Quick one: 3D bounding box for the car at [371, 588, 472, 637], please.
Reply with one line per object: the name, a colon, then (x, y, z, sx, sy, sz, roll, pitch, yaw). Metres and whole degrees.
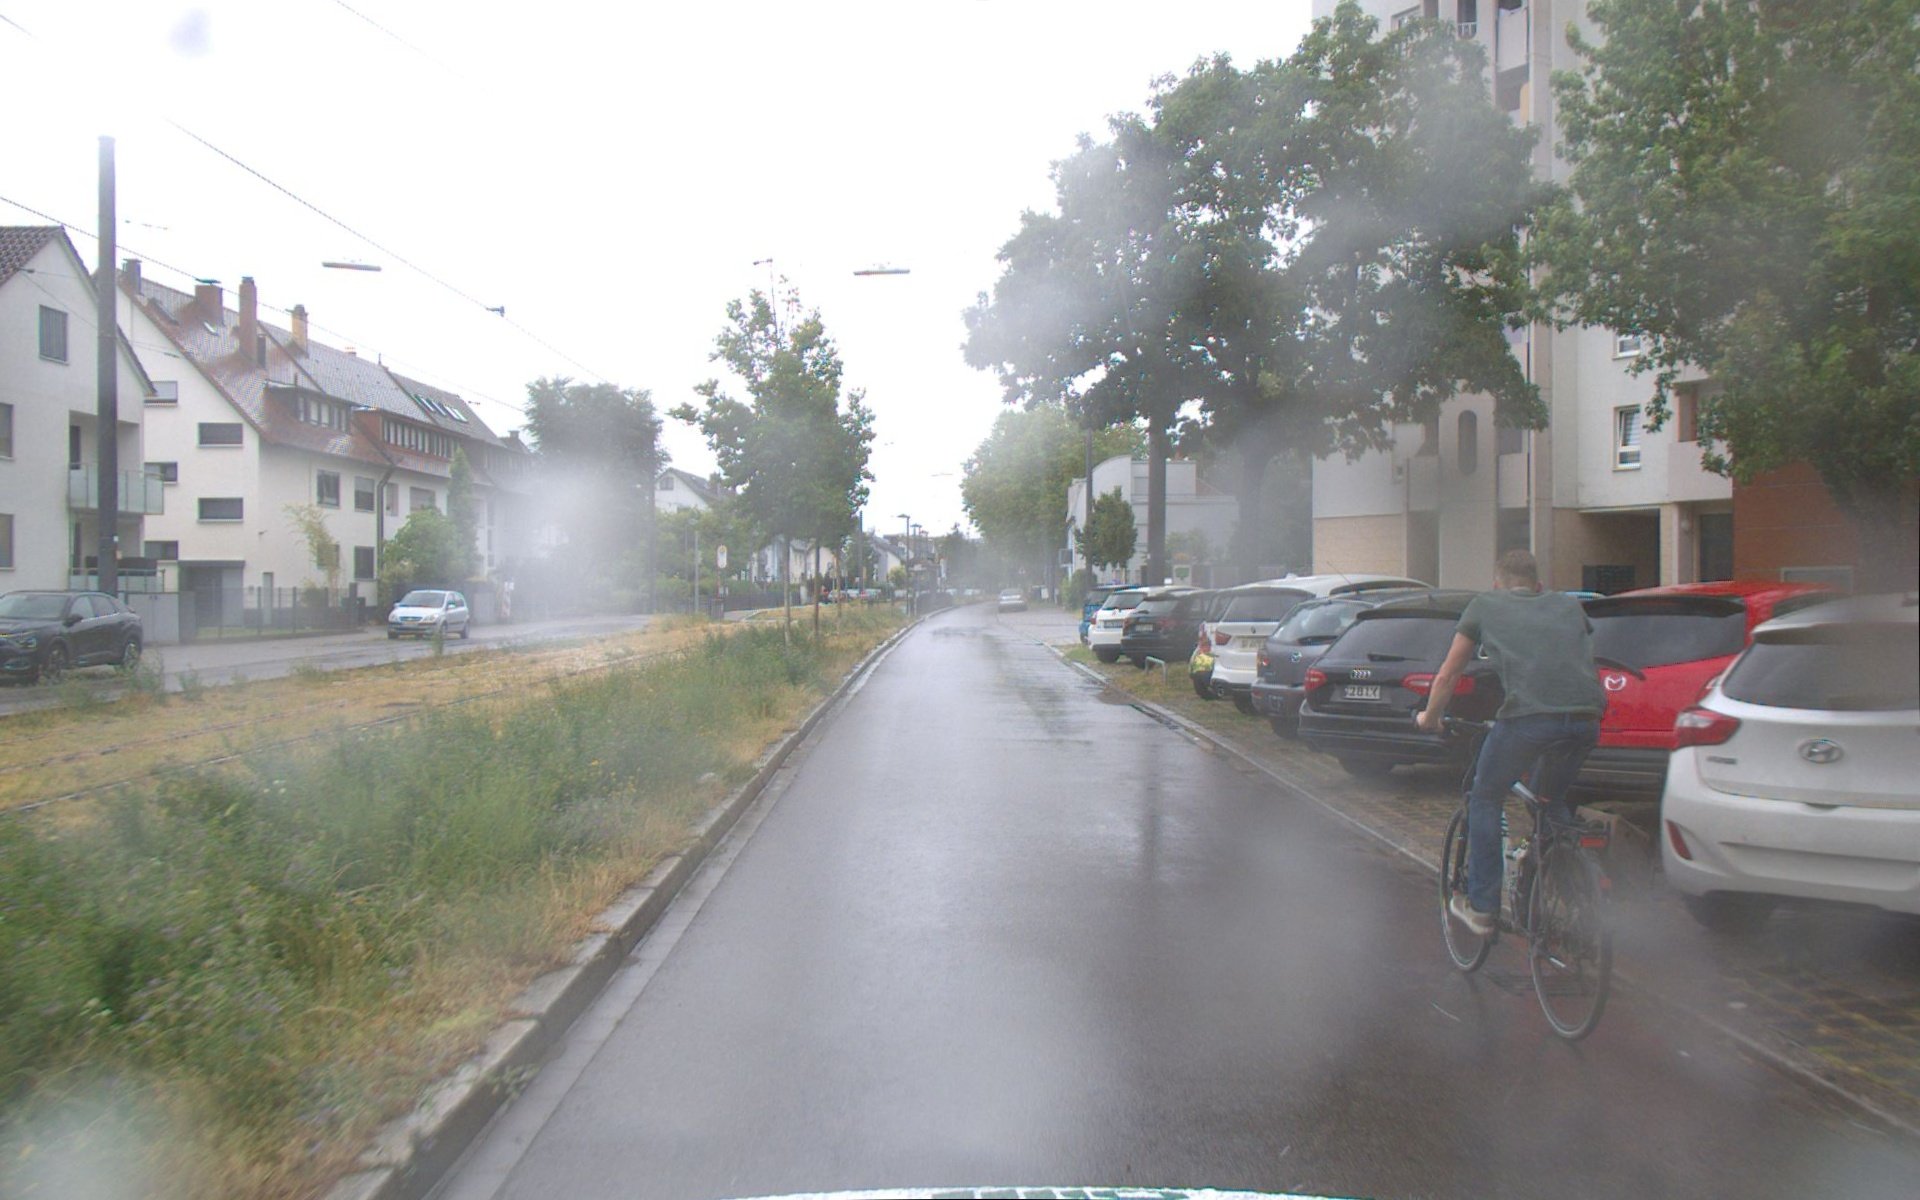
car: (-16.420, 0.379, 50.610, 1.953, 1.438, 3.657, 1, 0, -2)

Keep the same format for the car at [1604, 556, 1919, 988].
car: (5.067, 0.548, 7.603, 4.411, 1.490, 1.797, -4, 2, -36)

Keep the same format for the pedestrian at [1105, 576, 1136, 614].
pedestrian: (6.646, -0.209, 68.431, 0.826, 1.544, 1.084, 1, -1, -29)

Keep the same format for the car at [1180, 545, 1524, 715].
car: (4.859, 0.285, 20.144, 4.421, 1.700, 1.786, -4, 2, -40)

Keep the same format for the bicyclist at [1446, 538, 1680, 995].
bicyclist: (2.224, 0.582, 6.164, 0.524, 1.587, 0.771, 1, -1, -7)

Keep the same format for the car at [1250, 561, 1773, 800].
car: (4.524, 0.522, 13.289, 4.409, 1.453, 1.664, -4, 2, -35)

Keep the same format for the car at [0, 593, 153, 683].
car: (-15.909, 0.616, 28.722, 1.799, 1.452, 4.173, 1, 0, -2)

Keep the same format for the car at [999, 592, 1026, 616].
car: (3.355, 0.277, 105.015, 1.616, 1.430, 4.650, -3, -1, 2)

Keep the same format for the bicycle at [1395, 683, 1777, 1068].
bicycle: (2.224, 0.910, 6.161, 0.526, 1.112, 1.946, 1, 0, -5)

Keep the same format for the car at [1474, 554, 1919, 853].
car: (5.459, 0.506, 10.945, 4.418, 1.453, 1.784, -4, 2, -39)

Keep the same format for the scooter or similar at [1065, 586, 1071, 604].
scooter or similar: (6.728, -0.322, 102.958, 0.326, 1.104, 1.397, 1, 0, 7)

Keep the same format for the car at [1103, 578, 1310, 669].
car: (4.759, 0.418, 31.705, 3.904, 1.456, 1.662, -4, 2, -38)

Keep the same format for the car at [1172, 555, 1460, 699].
car: (5.066, 0.316, 23.295, 4.143, 1.700, 1.662, -4, 2, -38)

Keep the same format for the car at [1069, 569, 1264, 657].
car: (4.408, 0.231, 34.932, 4.148, 1.574, 1.739, -4, 2, -41)

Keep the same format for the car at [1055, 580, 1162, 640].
car: (4.010, 0.254, 44.664, 2.541, 1.575, 1.580, -1, 0, -41)

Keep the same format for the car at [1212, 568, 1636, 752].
car: (4.761, 0.513, 16.702, 4.411, 1.434, 1.746, -4, 2, -36)
